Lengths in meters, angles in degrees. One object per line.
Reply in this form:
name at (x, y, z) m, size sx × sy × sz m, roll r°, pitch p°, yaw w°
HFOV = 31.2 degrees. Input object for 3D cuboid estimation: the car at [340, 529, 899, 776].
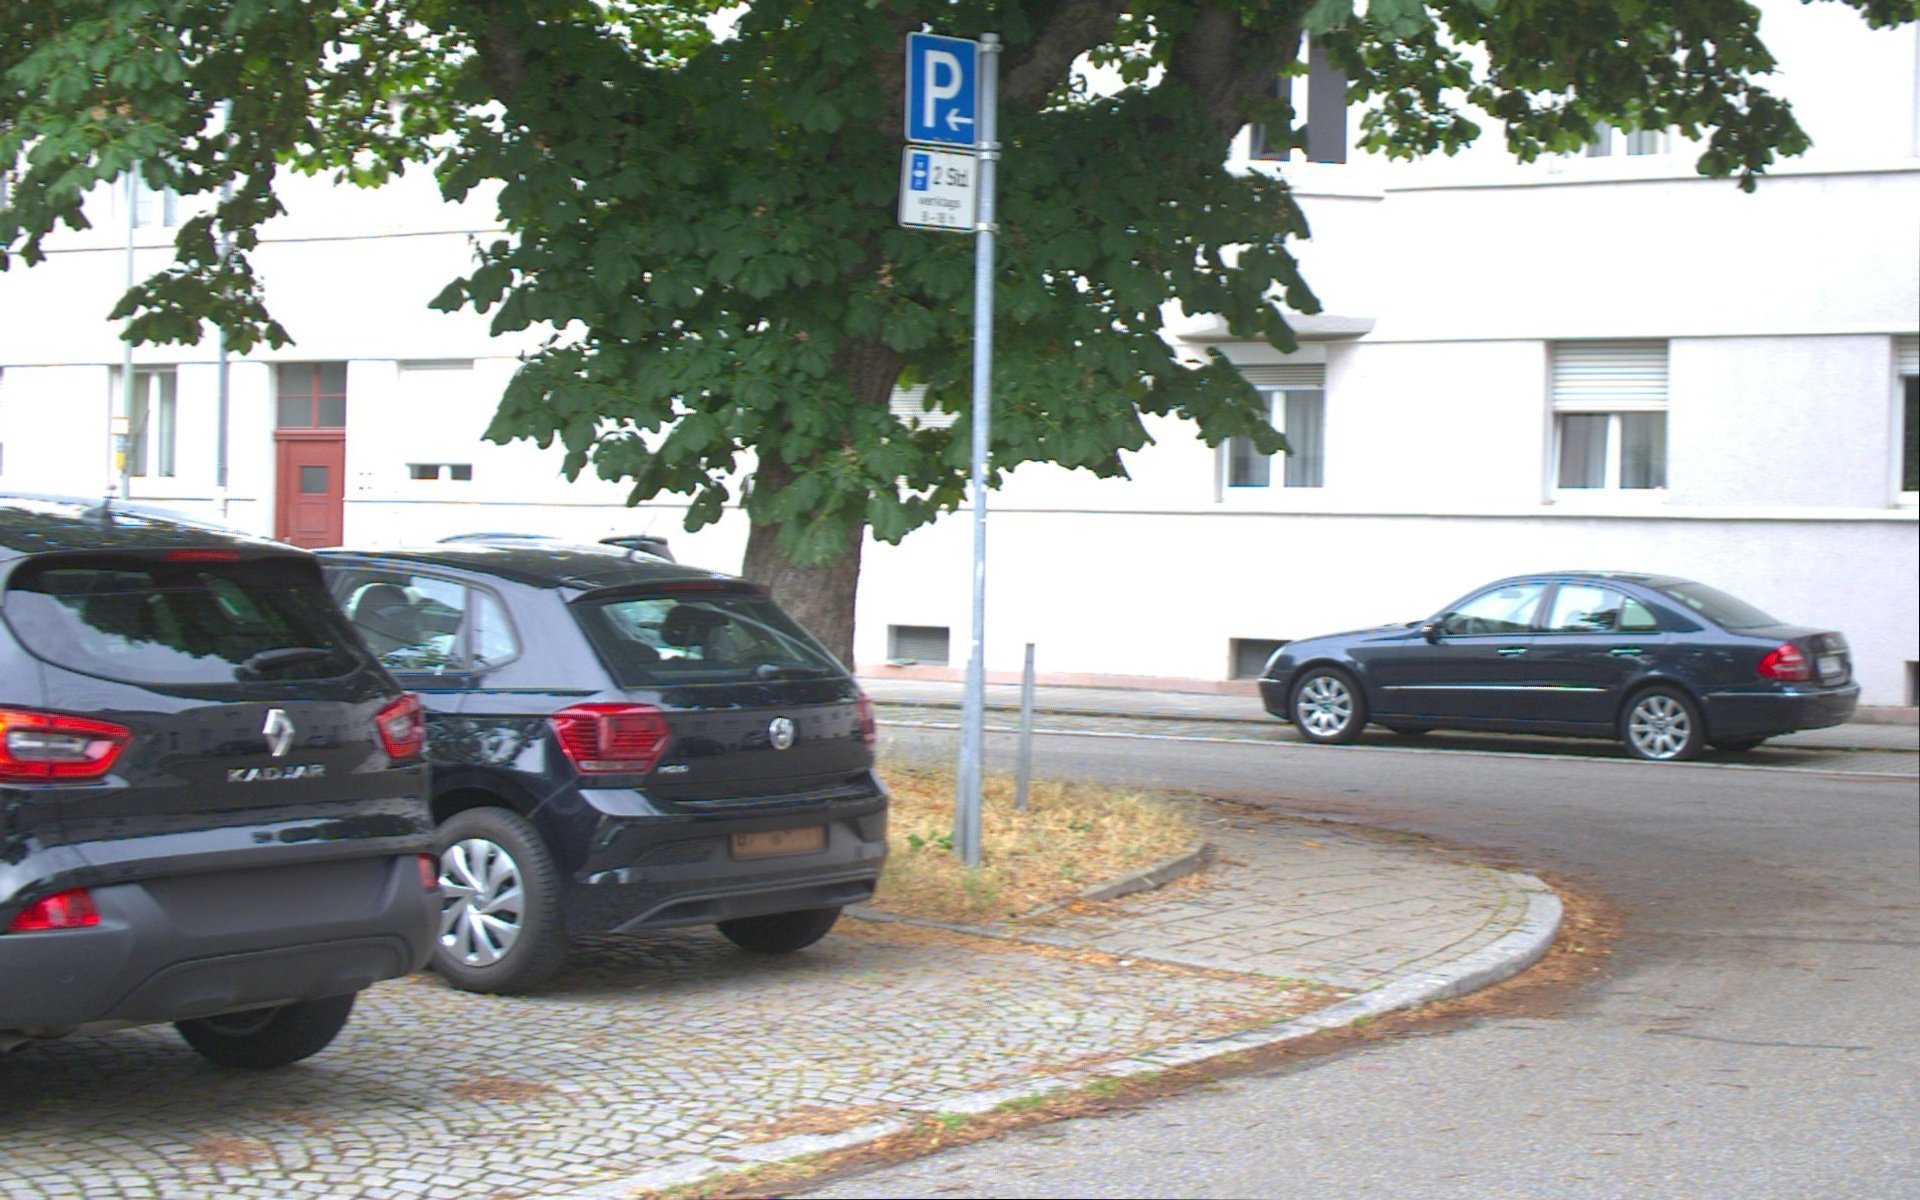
car at (-2.336, 0.341, 23.243) m, size 3.587 × 1.488 × 1.526 m, roll 2°, pitch -1°, yaw 36°

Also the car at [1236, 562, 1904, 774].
car at (4.821, 0.484, 27.492) m, size 4.943 × 1.416 × 1.747 m, roll 2°, pitch 2°, yaw 32°

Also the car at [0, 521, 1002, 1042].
car at (-1.953, 0.528, 12.515) m, size 3.838 × 1.572 × 1.827 m, roll 2°, pitch 1°, yaw 36°

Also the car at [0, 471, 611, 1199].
car at (-3.168, 0.471, 9.742) m, size 4.064 × 1.691 × 1.912 m, roll 3°, pitch 2°, yaw 37°

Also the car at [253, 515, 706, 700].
car at (-4.829, 0.020, 34.402) m, size 4.283 × 1.668 × 1.845 m, roll 2°, pitch 2°, yaw 32°
